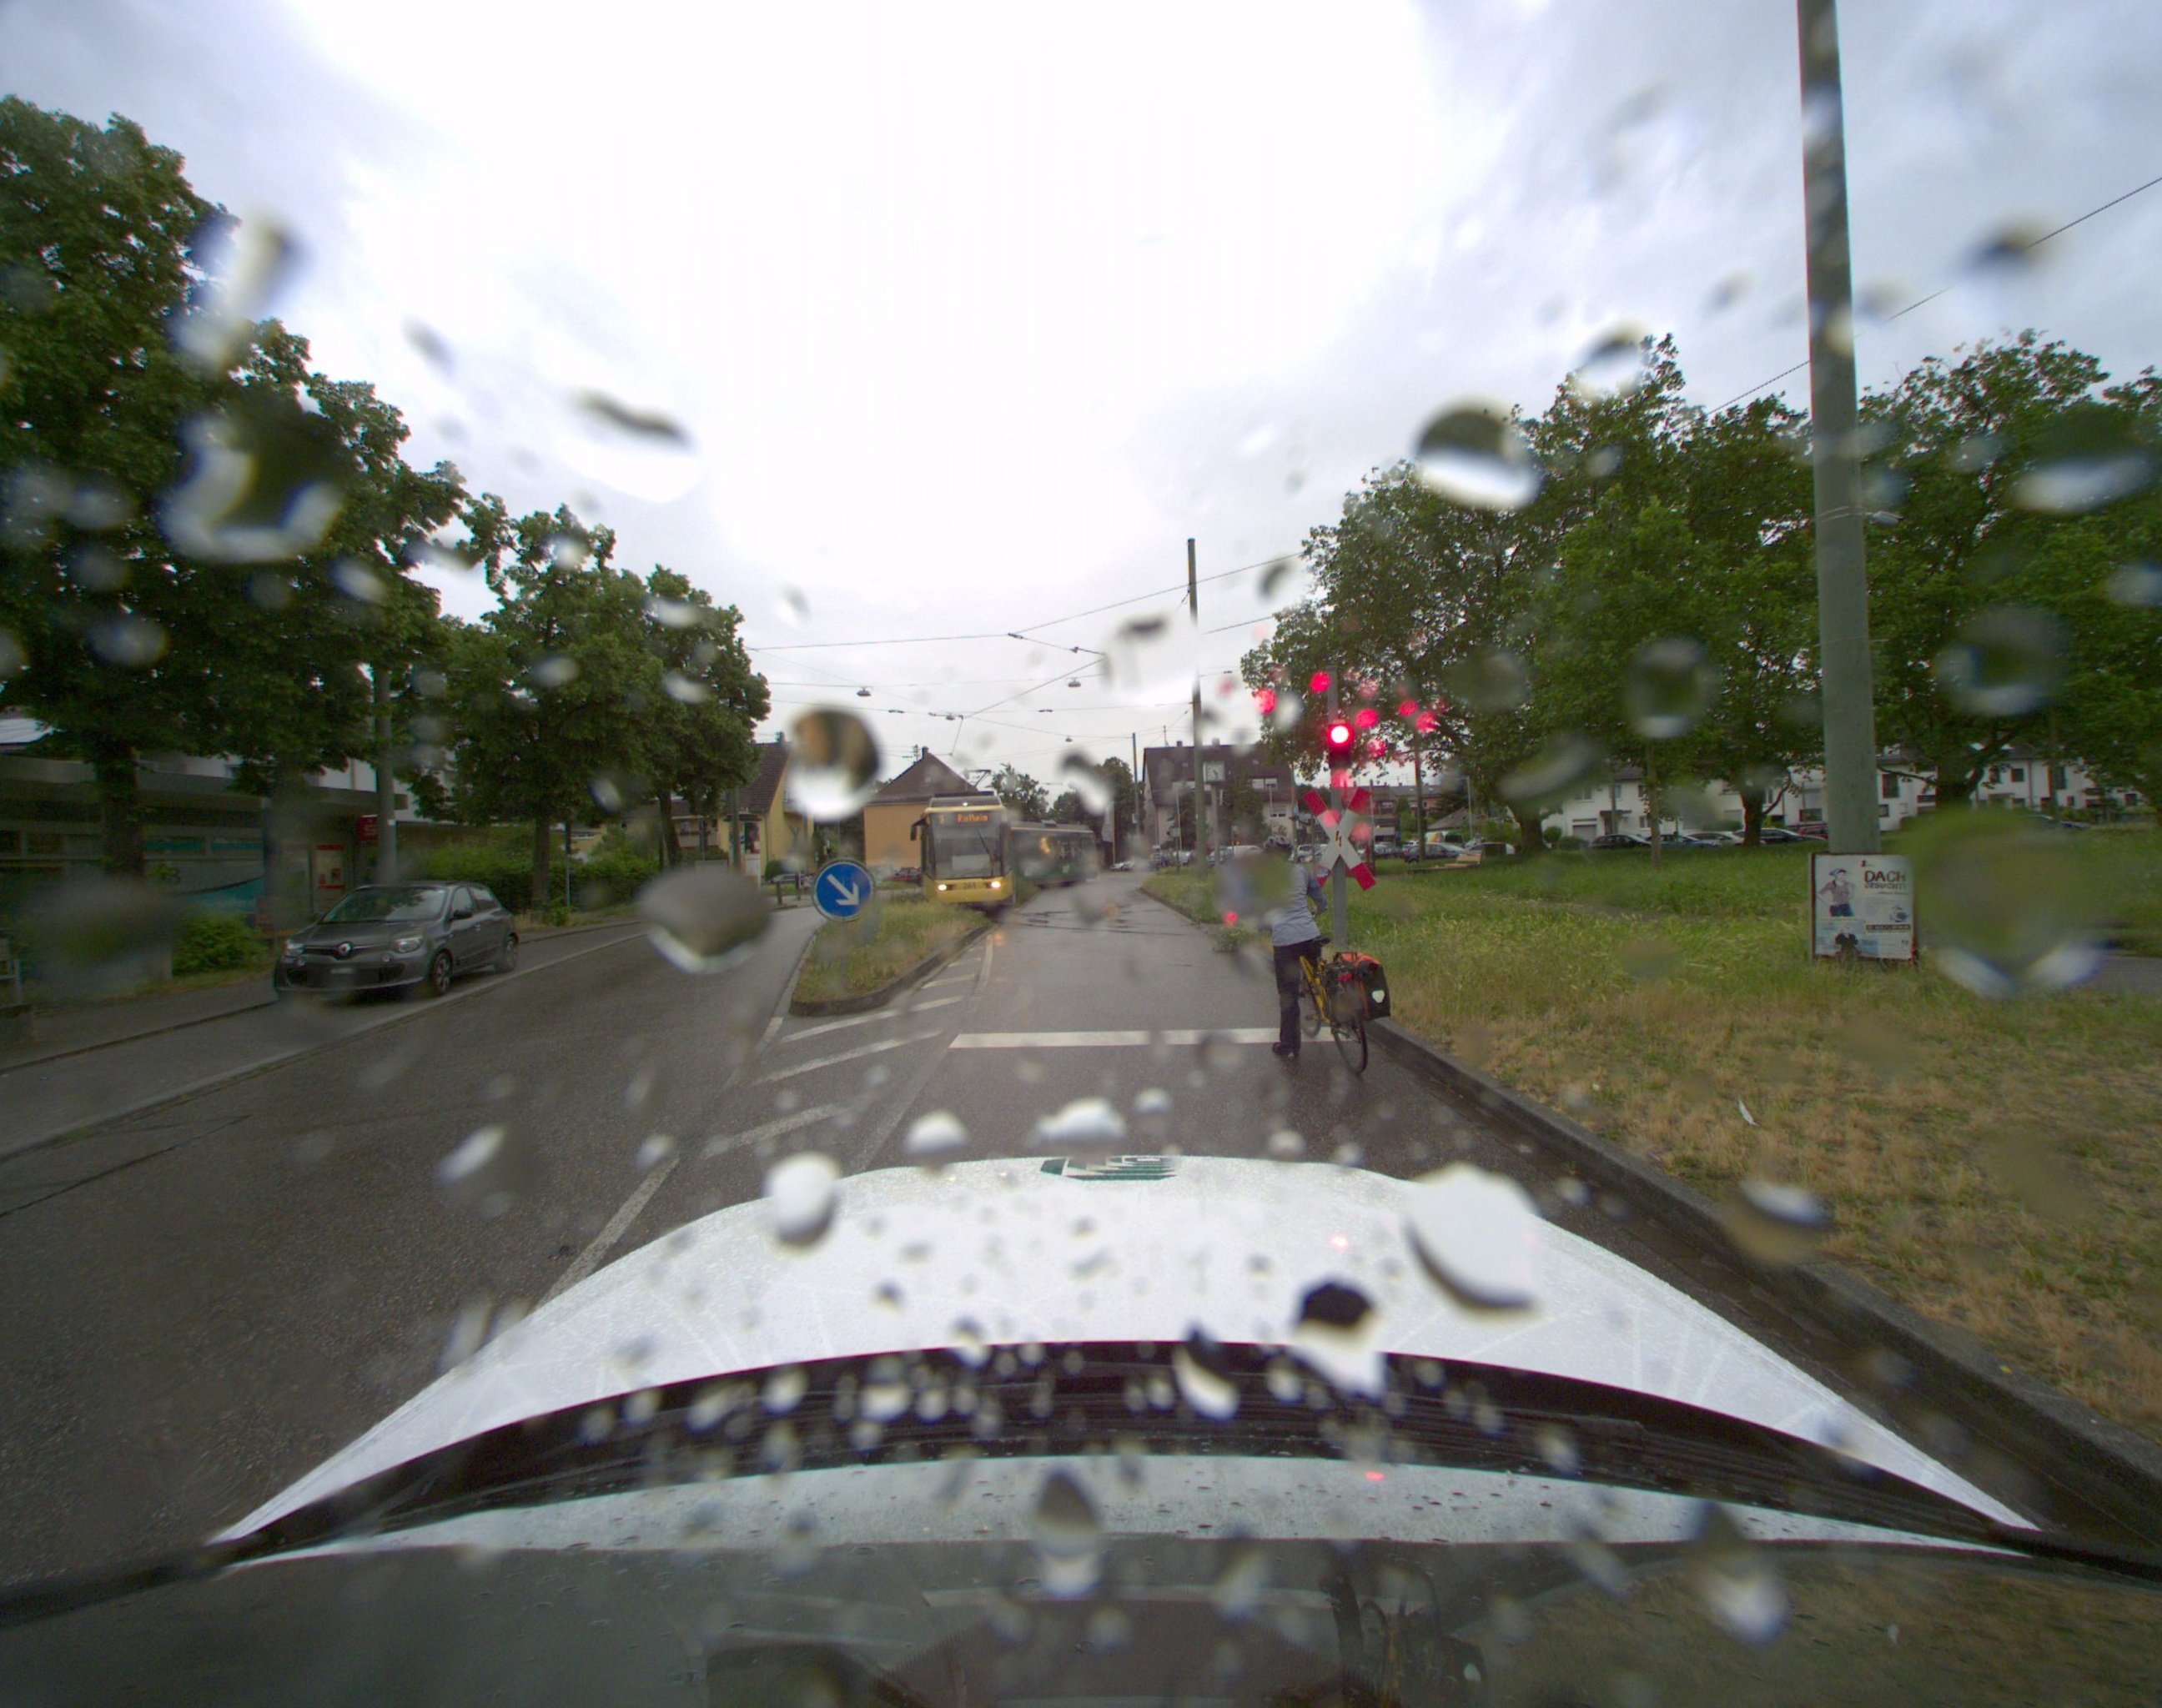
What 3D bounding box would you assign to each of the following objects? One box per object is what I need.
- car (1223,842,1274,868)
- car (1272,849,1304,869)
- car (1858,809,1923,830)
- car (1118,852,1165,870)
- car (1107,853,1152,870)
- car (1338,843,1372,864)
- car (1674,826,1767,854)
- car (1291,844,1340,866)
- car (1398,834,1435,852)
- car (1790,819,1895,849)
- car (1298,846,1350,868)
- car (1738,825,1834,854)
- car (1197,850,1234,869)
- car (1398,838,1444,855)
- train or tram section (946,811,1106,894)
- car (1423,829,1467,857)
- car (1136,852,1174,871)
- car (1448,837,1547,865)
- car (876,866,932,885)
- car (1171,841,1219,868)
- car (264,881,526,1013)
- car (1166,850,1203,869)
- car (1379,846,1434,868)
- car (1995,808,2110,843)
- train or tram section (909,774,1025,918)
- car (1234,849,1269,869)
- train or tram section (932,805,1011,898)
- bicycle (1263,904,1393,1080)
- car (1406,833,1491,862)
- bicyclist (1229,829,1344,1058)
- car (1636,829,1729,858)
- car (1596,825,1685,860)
[{"bbox_3d":[15.633,0.080,76.040,4.381,2.325,2.000,0,-1,-1],"label":"car"},{"bbox_3d":[17.980,0.442,70.704,1.823,1.640,4.024,-1,-1,27],"label":"car"},{"bbox_3d":[70.002,-2.992,70.451,3.670,1.660,1.891,0,-1,2],"label":"car"},{"bbox_3d":[5.717,0.629,76.898,4.015,1.675,1.979,0,-1,-34],"label":"car"},{"bbox_3d":[4.748,0.765,79.990,4.015,1.643,1.979,0,-1,-34],"label":"car"},{"bbox_3d":[24.140,0.013,71.885,1.983,1.791,4.006,0,-1,6],"label":"car"},{"bbox_3d":[35.709,-0.750,45.520,1.821,1.495,3.867,0,-1,-44],"label":"car"},{"bbox_3d":[21.815,0.091,75.928,3.974,1.951,1.999,0,-1,-1],"label":"car"},{"bbox_3d":[39.140,-1.222,95.104,1.998,2.014,3.978,0,-1,-16],"label":"car"},{"bbox_3d":[42.630,-1.084,45.681,1.814,1.495,3.881,0,-1,-27],"label":"car"},{"bbox_3d":[19.318,0.261,64.809,3.670,1.701,1.891,0,-1,2],"label":"car"},{"bbox_3d":[39.267,-0.777,45.408,1.821,1.495,3.867,0,-1,-44],"label":"car"},{"bbox_3d":[11.632,0.483,70.246,1.975,1.640,4.024,-1,-1,27],"label":"car"},{"bbox_3d":[35.429,-0.770,84.945,3.971,1.640,1.847,0,-1,2],"label":"car"},{"bbox_3d":[-2.273,-0.151,41.917,2.737,3.553,13.202,-3,0,21],"label":"train or tram section"},{"bbox_3d":[32.579,-0.963,72.993,1.987,2.443,4.354,0,-1,1],"label":"car"},{"bbox_3d":[6.654,0.654,72.781,1.975,1.640,4.024,-1,-1,27],"label":"car"},{"bbox_3d":[20.507,-0.126,40.247,3.964,1.285,1.851,-1,-1,9],"label":"car"},{"bbox_3d":[-13.658,1.665,63.073,3.979,1.456,1.831,0,-1,-5],"label":"car"},{"bbox_3d":[11.185,0.029,79.717,4.362,2.566,2.008,-1,-1,16],"label":"car"},{"bbox_3d":[-9.684,1.196,11.879,1.621,1.496,3.645,0,-1,-18],"label":"car"},{"bbox_3d":[9.100,0.514,71.477,1.975,1.640,4.024,-1,-1,27],"label":"car"},{"bbox_3d":[25.899,0.215,64.953,3.670,1.701,1.891,0,-1,2],"label":"car"},{"bbox_3d":[54.637,-1.573,45.857,1.815,1.765,3.879,0,-1,-29],"label":"car"},{"bbox_3d":[-3.705,-0.154,26.667,2.759,3.553,12.169,-3,0,-8],"label":"train or tram section"},{"bbox_3d":[14.747,0.462,70.391,1.975,1.640,4.024,-1,-1,27],"label":"car"},{"bbox_3d":[-4.574,-0.061,34.880,2.754,3.553,4.983,-3,-1,-2],"label":"train or tram section"},{"bbox_3d":[1.795,0.948,6.139,0.444,1.004,1.728,-2,0,1],"label":"bicycle"},{"bbox_3d":[20.203,-0.318,44.843,1.821,1.495,3.867,0,-1,-44],"label":"car"},{"bbox_3d":[1.542,0.641,6.231,0.665,1.626,0.853,0,-1,1],"label":"bicyclist"},{"bbox_3d":[33.205,-0.553,44.991,1.821,1.495,3.867,0,-1,-44],"label":"car"},{"bbox_3d":[30.543,-0.608,44.532,1.821,1.798,3.721,0,-1,-44],"label":"car"}]
